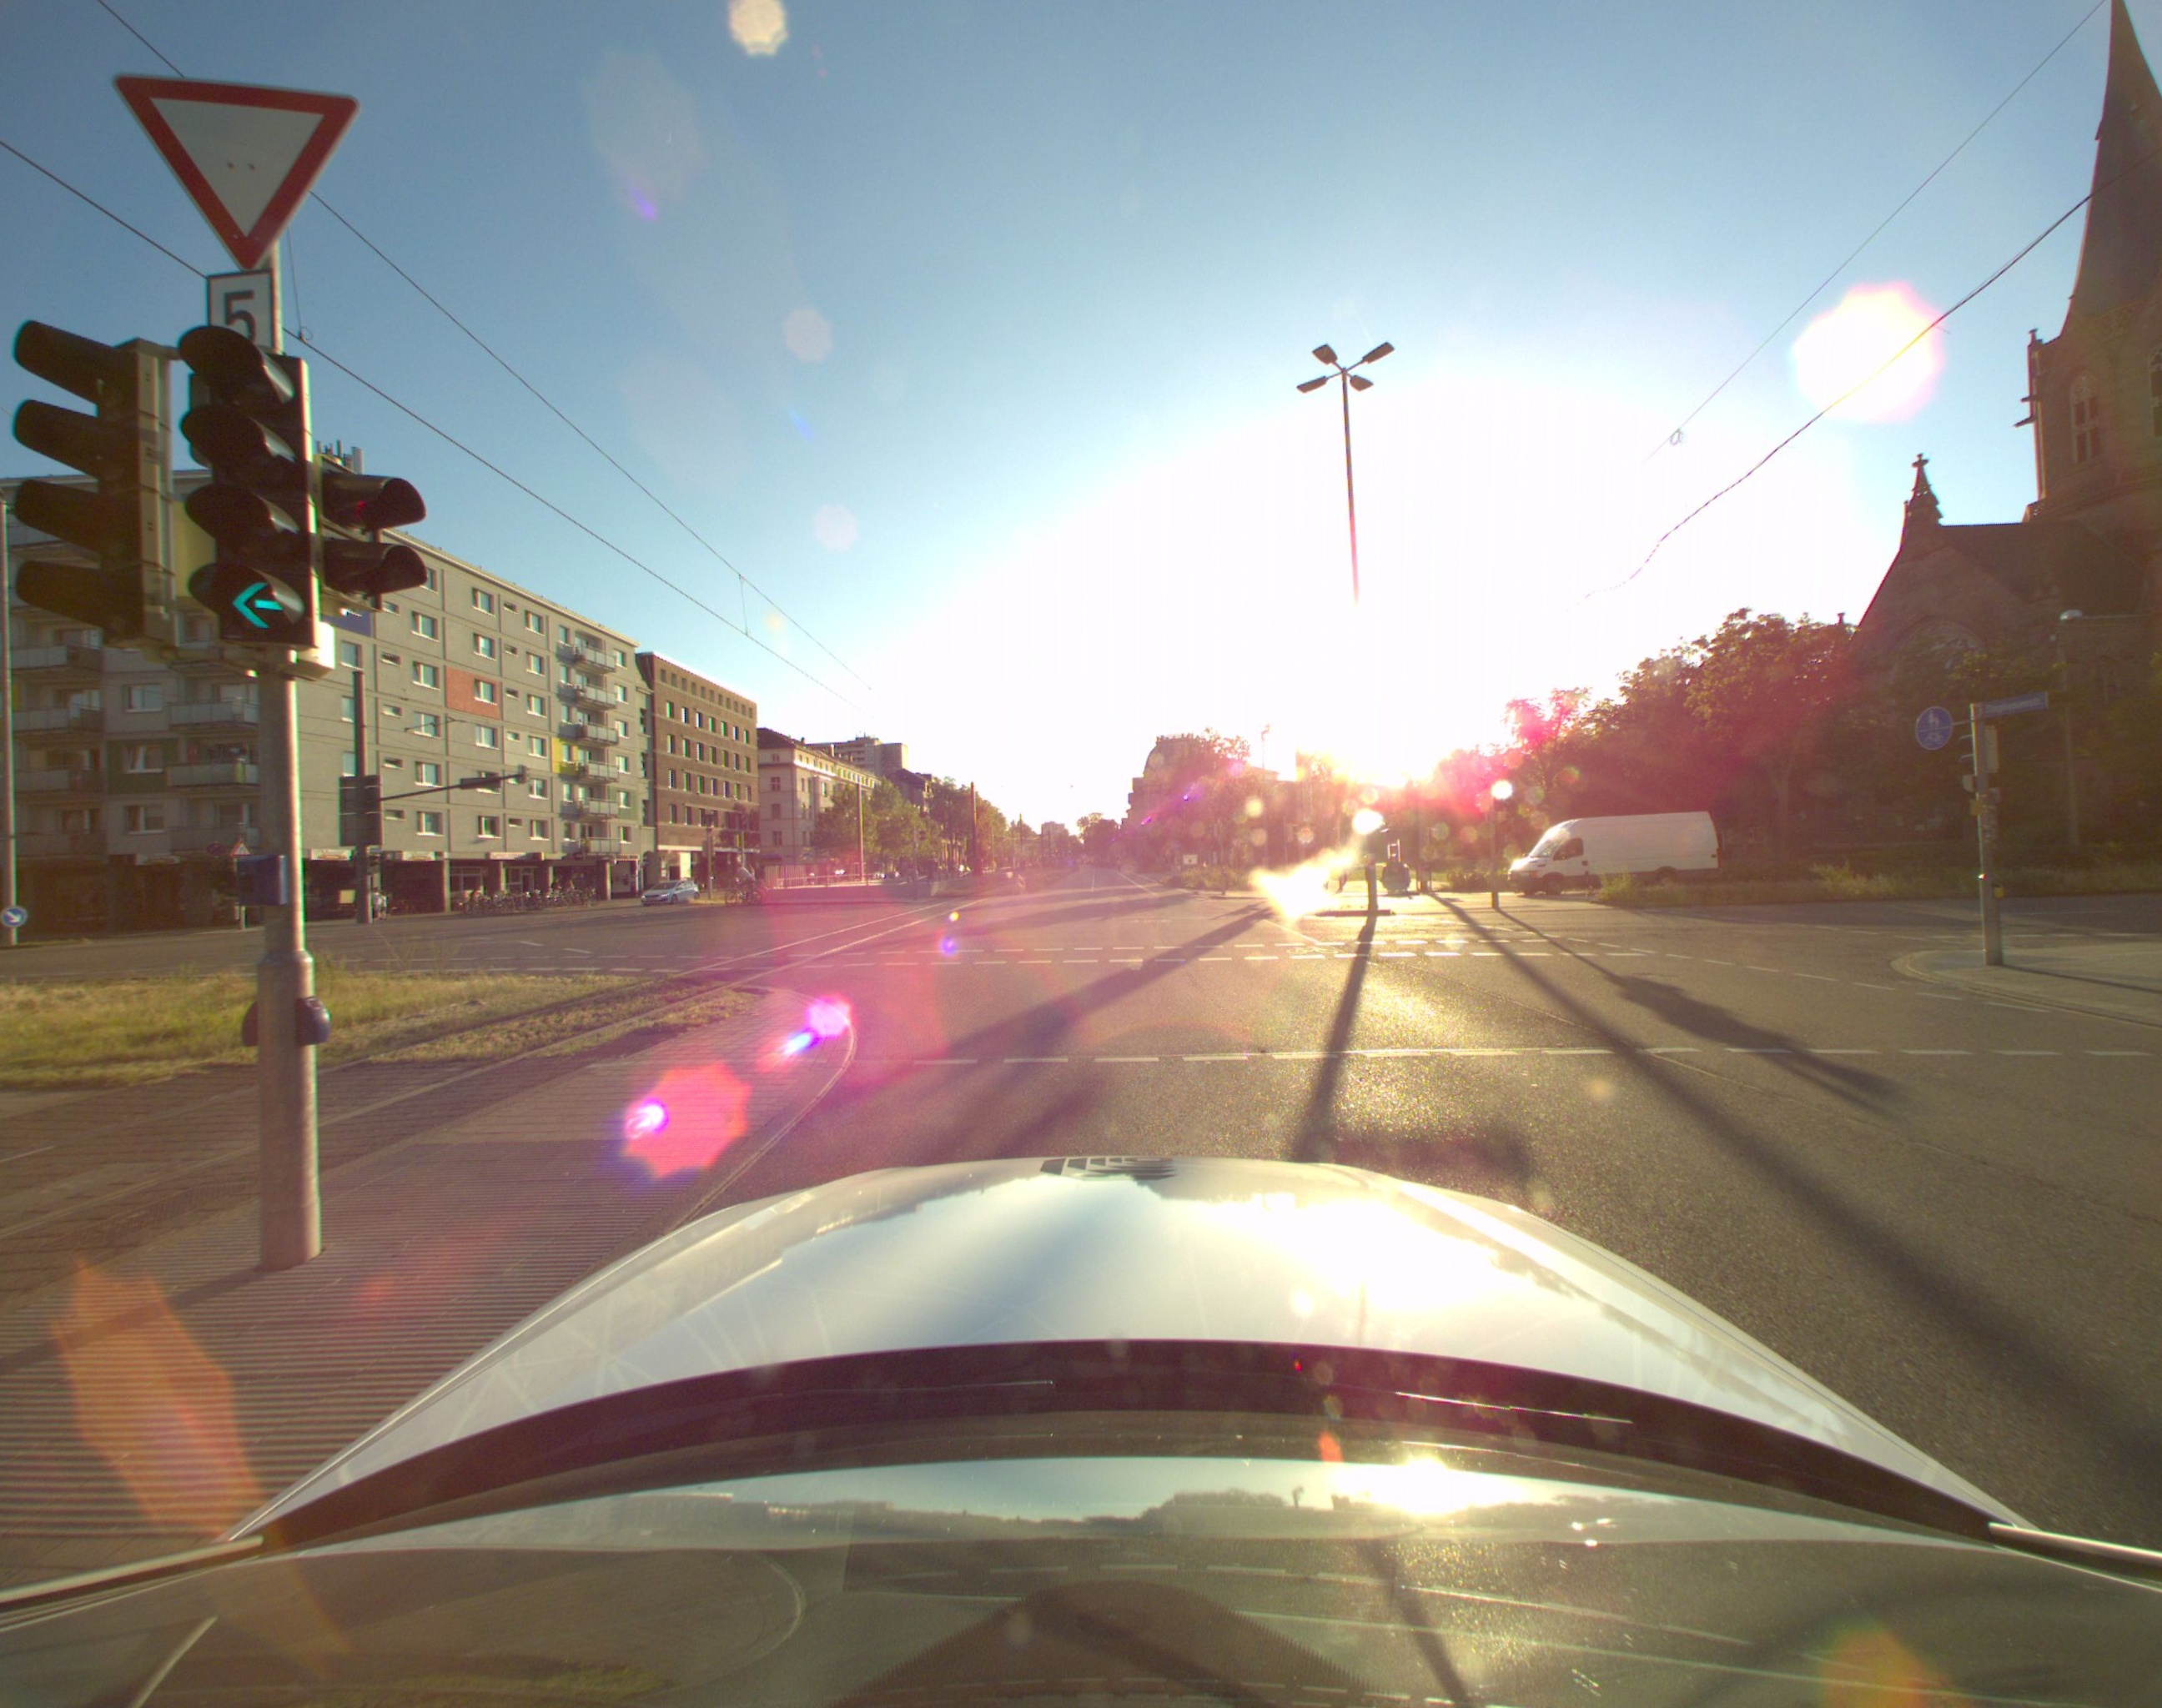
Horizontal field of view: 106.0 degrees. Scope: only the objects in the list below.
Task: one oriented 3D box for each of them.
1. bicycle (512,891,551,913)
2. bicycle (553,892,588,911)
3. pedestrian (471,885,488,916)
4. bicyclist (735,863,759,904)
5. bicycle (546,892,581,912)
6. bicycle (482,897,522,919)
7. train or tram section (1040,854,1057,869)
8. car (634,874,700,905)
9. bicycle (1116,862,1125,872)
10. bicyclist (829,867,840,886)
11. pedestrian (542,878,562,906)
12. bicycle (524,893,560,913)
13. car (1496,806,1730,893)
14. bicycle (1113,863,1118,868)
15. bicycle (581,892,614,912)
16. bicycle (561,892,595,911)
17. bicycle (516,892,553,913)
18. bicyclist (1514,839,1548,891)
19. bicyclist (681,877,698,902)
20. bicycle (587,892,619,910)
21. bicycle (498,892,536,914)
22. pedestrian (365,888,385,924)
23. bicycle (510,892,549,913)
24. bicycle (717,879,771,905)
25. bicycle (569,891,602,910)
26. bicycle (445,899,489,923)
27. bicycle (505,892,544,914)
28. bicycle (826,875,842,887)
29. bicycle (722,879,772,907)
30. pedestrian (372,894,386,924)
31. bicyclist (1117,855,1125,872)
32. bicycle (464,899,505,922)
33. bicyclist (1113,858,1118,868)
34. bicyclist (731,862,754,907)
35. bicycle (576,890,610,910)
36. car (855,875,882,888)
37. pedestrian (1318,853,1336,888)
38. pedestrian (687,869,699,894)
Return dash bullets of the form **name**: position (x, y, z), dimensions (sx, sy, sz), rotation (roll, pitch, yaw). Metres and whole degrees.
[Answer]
- **bicycle**: position (-31.499, 2.759, 46.718), dimensions (1.782, 1.191, 0.652), rotation (-2, -1, 1)
- **bicycle**: position (-31.334, 2.916, 49.974), dimensions (1.754, 1.119, 0.568), rotation (-2, -1, 2)
- **pedestrian**: position (-33.164, 2.571, 44.878), dimensions (0.581, 1.684, 0.543), rotation (-2, -1, -19)
- **bicyclist**: position (-14.902, 1.315, 36.382), dimensions (0.878, 1.818, 0.535), rotation (-2, -1, -16)
- **bicycle**: position (-31.377, 2.889, 49.389), dimensions (1.748, 1.117, 0.552), rotation (-2, -1, 2)
- **bicycle**: position (-31.927, 2.987, 44.902), dimensions (1.750, 1.139, 0.600), rotation (-2, -1, 2)
- **train or tram section**: position (-8.621, 2.048, 218.617), dimensions (4.375, 3.850, 11.399), rotation (-2, -1, -2)
- **car**: position (-24.478, 2.097, 48.299), dimensions (1.682, 1.618, 4.003), rotation (-3, -1, 3)
- **bicycle**: position (5.563, 1.791, 114.308), dimensions (1.094, 1.399, 2.832), rotation (-2, -1, 2)
- **bicyclist**: position (-26.494, 2.436, 87.393), dimensions (0.793, 2.014, 0.924), rotation (-2, -1, 3)
- **pedestrian**: position (-35.664, 2.566, 54.920), dimensions (0.826, 1.813, 0.718), rotation (-2, -1, -9)
- **bicycle**: position (-32.318, 2.925, 48.840), dimensions (1.764, 1.136, 0.606), rotation (-2, -1, 2)
- **car**: position (19.212, -0.135, 29.671), dimensions (6.981, 2.828, 2.094), rotation (-2, -1, 3)
- **bicycle**: position (6.972, 2.297, 165.146), dimensions (0.921, 1.111, 2.334), rotation (-2, -1, 2)
- **bicycle**: position (-31.372, 3.115, 52.837), dimensions (1.683, 1.170, 0.749), rotation (-2, -1, 3)
- **bicycle**: position (-31.280, 2.940, 50.618), dimensions (1.719, 1.124, 0.634), rotation (-2, -2, 3)
- **bicycle**: position (-32.333, 2.866, 48.167), dimensions (1.769, 1.159, 0.606), rotation (-2, -1, 1)
- **bicyclist**: position (17.624, 0.426, 31.881), dimensions (0.894, 2.014, 0.723), rotation (-2, -1, 6)
- **bicyclist**: position (-27.754, 2.488, 57.725), dimensions (0.697, 1.743, 0.794), rotation (-2, -1, 13)
- **bicycle**: position (-31.432, 3.084, 53.574), dimensions (1.683, 1.144, 0.697), rotation (-2, -1, 3)
- **bicycle**: position (-31.499, 2.735, 45.475), dimensions (1.759, 1.168, 0.540), rotation (-2, -1, 1)
- **pedestrian**: position (-33.002, 2.406, 38.060), dimensions (0.575, 1.620, 0.598), rotation (-2, -1, -29)
- **bicycle**: position (-32.149, 2.829, 47.508), dimensions (1.824, 1.160, 0.640), rotation (-2, -1, 1)
- **bicycle**: position (-15.032, 1.682, 36.346), dimensions (2.168, 1.083, 0.536), rotation (-2, -1, -16)
- **bicycle**: position (-31.207, 2.933, 51.304), dimensions (1.683, 1.153, 0.706), rotation (-2, -1, 3)
- **bicycle**: position (-32.506, 3.015, 43.120), dimensions (1.788, 1.208, 0.638), rotation (-2, -1, 0)
- **bicycle**: position (-31.483, 2.774, 46.065), dimensions (1.763, 1.182, 0.568), rotation (-2, -1, 1)
- **bicycle**: position (-26.480, 2.890, 87.379), dimensions (0.809, 1.201, 2.415), rotation (-2, -1, 4)
- **bicycle**: position (-14.100, 1.647, 34.417), dimensions (1.906, 1.075, 0.628), rotation (-2, -1, -19)
- **pedestrian**: position (-33.215, 2.611, 38.535), dimensions (0.383, 1.383, 0.392), rotation (-2, -1, -26)
- **bicyclist**: position (5.559, 1.354, 114.253), dimensions (1.078, 2.276, 0.986), rotation (-2, -1, 1)
- **bicycle**: position (-32.423, 3.072, 44.245), dimensions (1.770, 1.142, 0.608), rotation (-2, -1, 1)
- **bicyclist**: position (6.956, 1.891, 165.125), dimensions (0.922, 2.014, 0.851), rotation (-2, -1, 1)
- **bicyclist**: position (-14.274, 1.284, 34.376), dimensions (0.795, 1.818, 0.642), rotation (-2, -1, -19)
- **bicycle**: position (-31.185, 2.919, 52.054), dimensions (1.683, 1.179, 0.749), rotation (-2, -1, 3)
- **car**: position (-25.569, 3.262, 98.067), dimensions (1.811, 1.420, 4.006), rotation (-2, -1, 5)
- **pedestrian**: position (12.837, 0.852, 42.564), dimensions (0.826, 1.803, 0.814), rotation (-2, -1, 17)
- **pedestrian**: position (-34.185, 2.407, 71.711), dimensions (0.599, 2.178, 0.792), rotation (-2, -1, 1)
